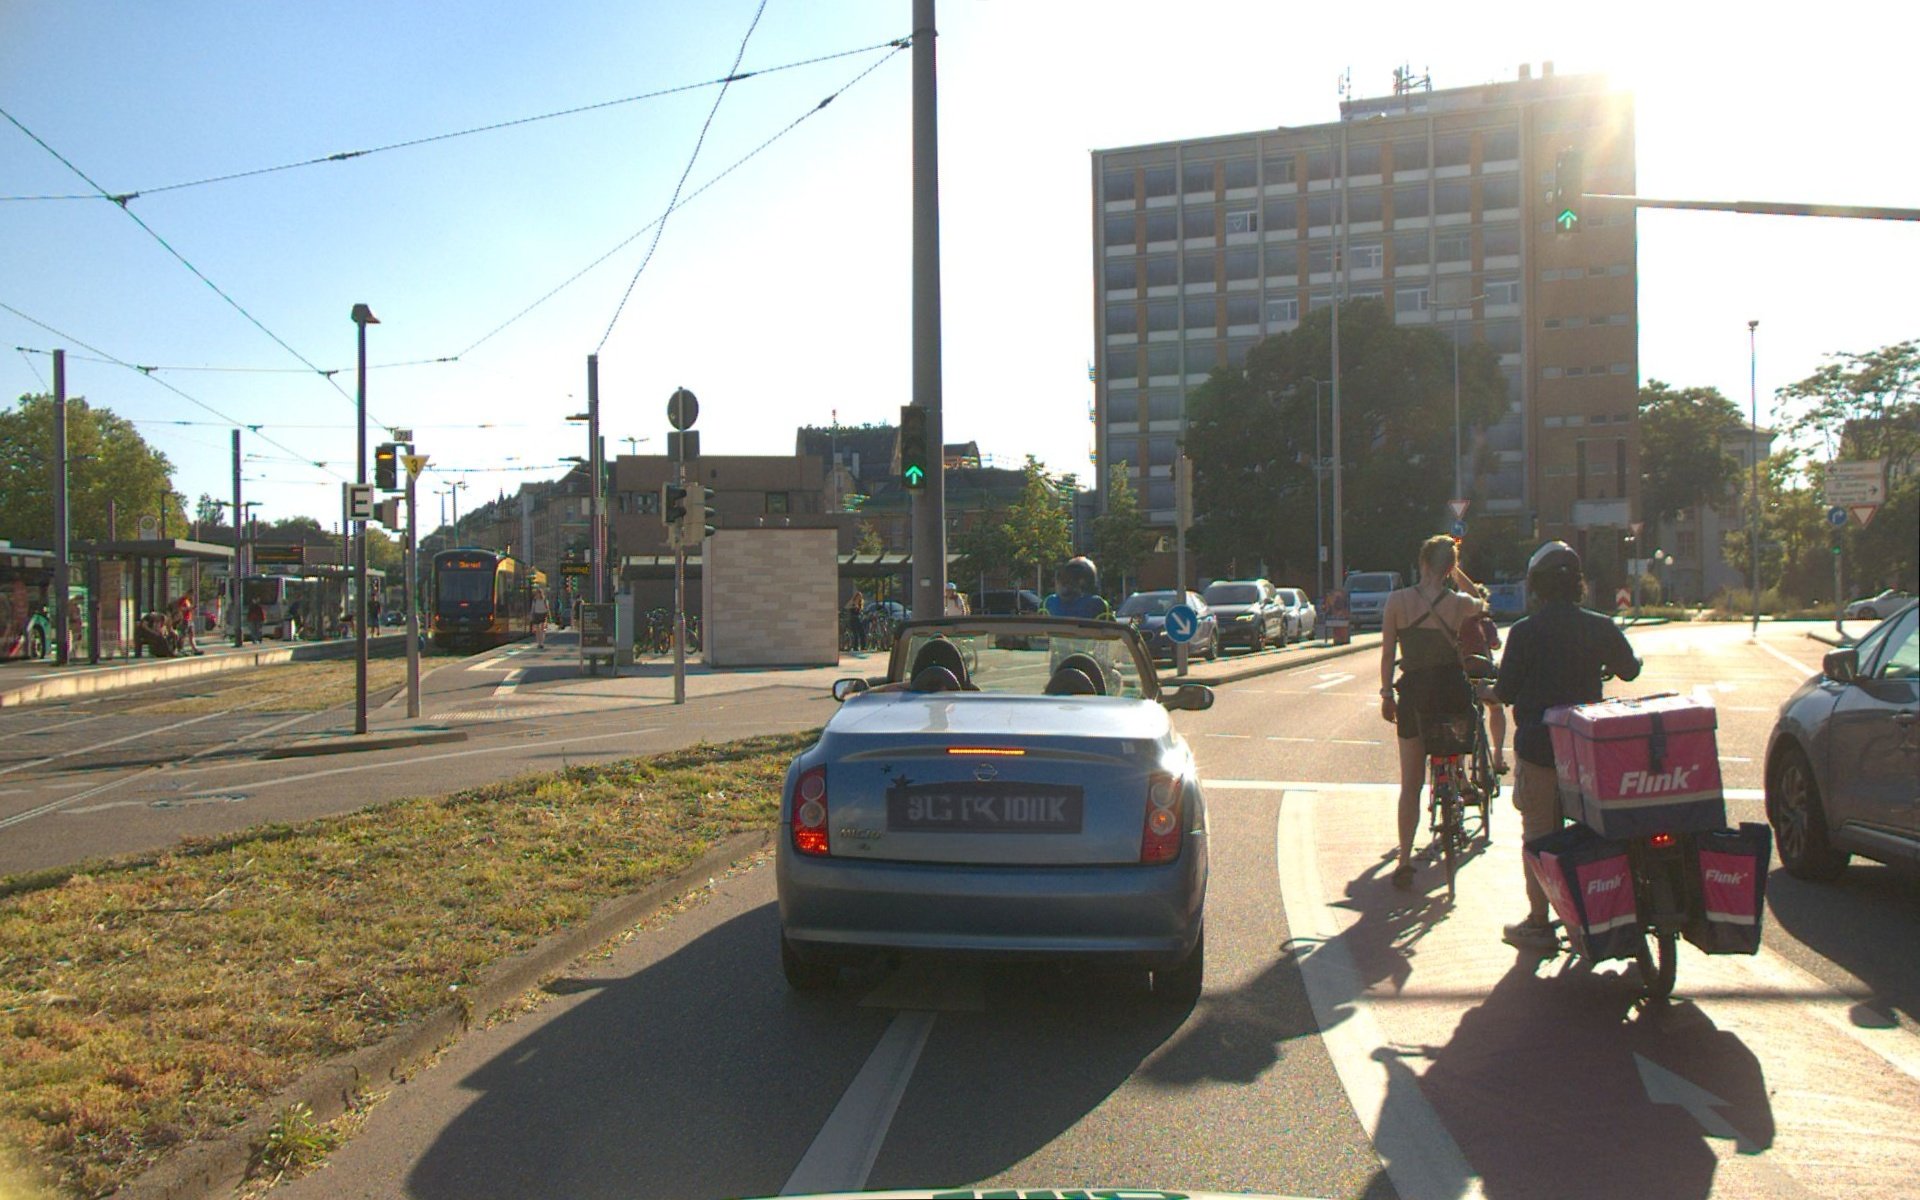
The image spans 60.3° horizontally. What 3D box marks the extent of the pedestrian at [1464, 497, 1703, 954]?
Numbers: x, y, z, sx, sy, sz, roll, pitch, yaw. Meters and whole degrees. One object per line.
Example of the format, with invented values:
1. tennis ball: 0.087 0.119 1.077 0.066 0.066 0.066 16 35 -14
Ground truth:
1. pedestrian: 2.763 0.522 7.425 0.789 1.901 0.957 1 -1 8

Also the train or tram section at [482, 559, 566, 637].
1. train or tram section: -22.046 -0.070 84.255 2.984 3.659 12.024 1 0 -10

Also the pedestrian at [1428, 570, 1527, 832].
1. pedestrian: 3.381 0.630 10.849 0.575 1.626 1.025 1 -1 16

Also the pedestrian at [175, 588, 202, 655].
1. pedestrian: -20.707 0.581 44.405 0.561 1.779 0.637 -1 0 -17

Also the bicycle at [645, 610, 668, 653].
1. bicycle: -8.424 0.860 45.847 0.596 1.134 1.891 1 0 -11

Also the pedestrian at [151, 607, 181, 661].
1. pedestrian: -20.094 0.856 41.866 0.606 1.364 0.438 -1 0 -18

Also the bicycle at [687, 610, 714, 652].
1. bicycle: -7.279 0.861 46.333 0.596 1.134 1.890 1 0 -13

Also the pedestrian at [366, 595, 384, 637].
1. pedestrian: -24.829 0.685 70.185 0.630 1.779 0.567 -1 0 -27

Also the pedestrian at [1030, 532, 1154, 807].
1. pedestrian: 0.977 0.485 12.024 0.815 1.901 0.921 1 -1 8

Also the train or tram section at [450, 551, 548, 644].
1. train or tram section: -19.980 -0.084 72.360 2.957 3.659 12.169 1 0 -10

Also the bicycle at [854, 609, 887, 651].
1. bicycle: -2.559 0.843 47.137 0.596 1.134 1.890 1 0 -13

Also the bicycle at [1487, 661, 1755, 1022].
1. bicycle: 2.728 0.900 7.072 0.542 1.192 2.374 1 0 9

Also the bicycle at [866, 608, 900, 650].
1. bicycle: -2.111 0.782 45.213 0.596 1.134 1.890 1 0 -13

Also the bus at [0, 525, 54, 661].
1. bus: -23.561 -0.179 37.169 2.606 3.190 9.619 1 0 -10

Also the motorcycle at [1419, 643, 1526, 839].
1. motorcycle: 3.416 0.873 11.100 0.600 1.117 2.361 1 0 16

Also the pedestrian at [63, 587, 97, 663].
1. pedestrian: -21.012 0.590 39.494 0.527 1.779 0.559 -1 0 -6

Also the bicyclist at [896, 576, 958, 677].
1. bicyclist: -0.564 0.456 28.703 0.694 1.686 0.901 -3 -1 21

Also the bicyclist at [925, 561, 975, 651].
1. bicyclist: -0.180 0.110 31.354 0.694 1.686 0.743 -1 0 21

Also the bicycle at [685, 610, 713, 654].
1. bicycle: -6.989 0.844 44.274 0.596 1.134 1.890 1 0 -13

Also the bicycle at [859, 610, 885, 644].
1. bicycle: -3.021 0.910 56.683 0.596 1.134 1.890 1 0 -13

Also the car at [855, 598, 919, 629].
1. car: -3.914 0.739 88.405 1.629 1.588 3.549 -1 0 -39

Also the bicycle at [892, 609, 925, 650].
1. bicycle: -1.496 0.830 47.541 0.596 1.134 1.890 1 0 -13

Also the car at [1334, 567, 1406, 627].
1. car: 14.606 -0.120 58.741 1.869 1.979 4.707 -3 -1 21

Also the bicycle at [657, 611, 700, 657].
1. bicycle: -7.184 0.856 42.336 0.594 1.134 1.898 1 0 5

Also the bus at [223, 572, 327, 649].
1. bus: -32.735 0.466 79.552 2.675 3.331 13.413 1 0 -14

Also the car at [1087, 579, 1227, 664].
1. car: 4.072 0.424 33.682 1.702 1.601 3.921 1 0 25

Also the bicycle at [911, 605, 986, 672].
1. bicycle: -0.196 0.708 31.296 0.660 1.201 2.183 -1 0 21

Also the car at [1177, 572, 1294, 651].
1. car: 6.686 0.258 39.728 1.726 1.736 4.529 -2 -1 23

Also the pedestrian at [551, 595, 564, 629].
1. pedestrian: -21.790 0.647 89.577 0.593 1.779 0.830 -1 0 -8

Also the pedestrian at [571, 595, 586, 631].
1. pedestrian: -19.256 0.666 83.509 0.628 1.779 0.732 -1 0 -19

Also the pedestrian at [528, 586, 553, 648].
1. pedestrian: -12.095 0.487 47.728 0.628 1.779 0.569 -1 0 -19

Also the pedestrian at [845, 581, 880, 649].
1. pedestrian: -2.758 0.429 46.707 0.885 1.901 0.685 1 -1 -13

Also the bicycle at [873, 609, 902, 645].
1. bicycle: -2.338 0.866 53.188 0.596 1.134 1.890 1 0 -13

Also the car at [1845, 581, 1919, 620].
1. car: 40.368 0.003 71.138 3.907 1.557 1.804 -2 0 24

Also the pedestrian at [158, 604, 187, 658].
1. pedestrian: -20.252 0.802 42.547 0.561 1.369 0.637 -1 0 -17

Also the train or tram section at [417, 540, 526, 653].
1. train or tram section: -17.646 -0.106 60.406 2.831 3.659 12.161 1 0 -12

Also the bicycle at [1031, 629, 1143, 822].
1. bicycle: 0.955 0.830 11.915 0.595 1.212 2.416 1 0 9

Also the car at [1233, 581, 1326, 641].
1. car: 9.012 0.280 46.456 1.661 1.588 3.977 -1 0 25

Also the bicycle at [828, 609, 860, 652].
1. bicycle: -3.162 0.823 45.056 0.596 1.134 1.890 1 0 -13

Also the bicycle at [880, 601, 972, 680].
1. bicycle: -0.560 0.676 28.683 0.660 1.272 2.457 -3 -1 21

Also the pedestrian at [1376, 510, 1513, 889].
1. pedestrian: 2.560 0.499 8.809 0.645 1.901 0.873 1 -1 14

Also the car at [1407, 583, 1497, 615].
1. car: 26.523 -0.070 89.175 4.301 1.557 1.800 -2 -1 33

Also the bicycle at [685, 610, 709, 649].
1. bicycle: -7.979 0.892 50.197 0.596 1.134 1.890 1 0 -13

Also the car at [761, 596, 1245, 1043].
1. car: 0.355 0.745 7.680 1.625 1.466 4.157 1 0 6

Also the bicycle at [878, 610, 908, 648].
1. bicycle: -2.088 0.885 51.220 0.596 1.134 1.890 1 0 -13

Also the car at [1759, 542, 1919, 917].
1. car: 5.285 0.606 7.398 1.792 1.719 4.372 1 0 8

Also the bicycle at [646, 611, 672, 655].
1. bicycle: -7.993 0.859 43.928 0.596 1.134 1.890 1 0 -13

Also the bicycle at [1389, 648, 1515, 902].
1. bicycle: 2.638 0.874 8.997 0.552 1.171 1.951 1 0 14

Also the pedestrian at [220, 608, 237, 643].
1. pedestrian: -37.718 1.295 85.245 0.626 1.779 0.571 -1 0 -8

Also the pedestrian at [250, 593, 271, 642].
1. pedestrian: -25.330 0.632 59.870 0.630 1.779 0.567 -1 0 -27
